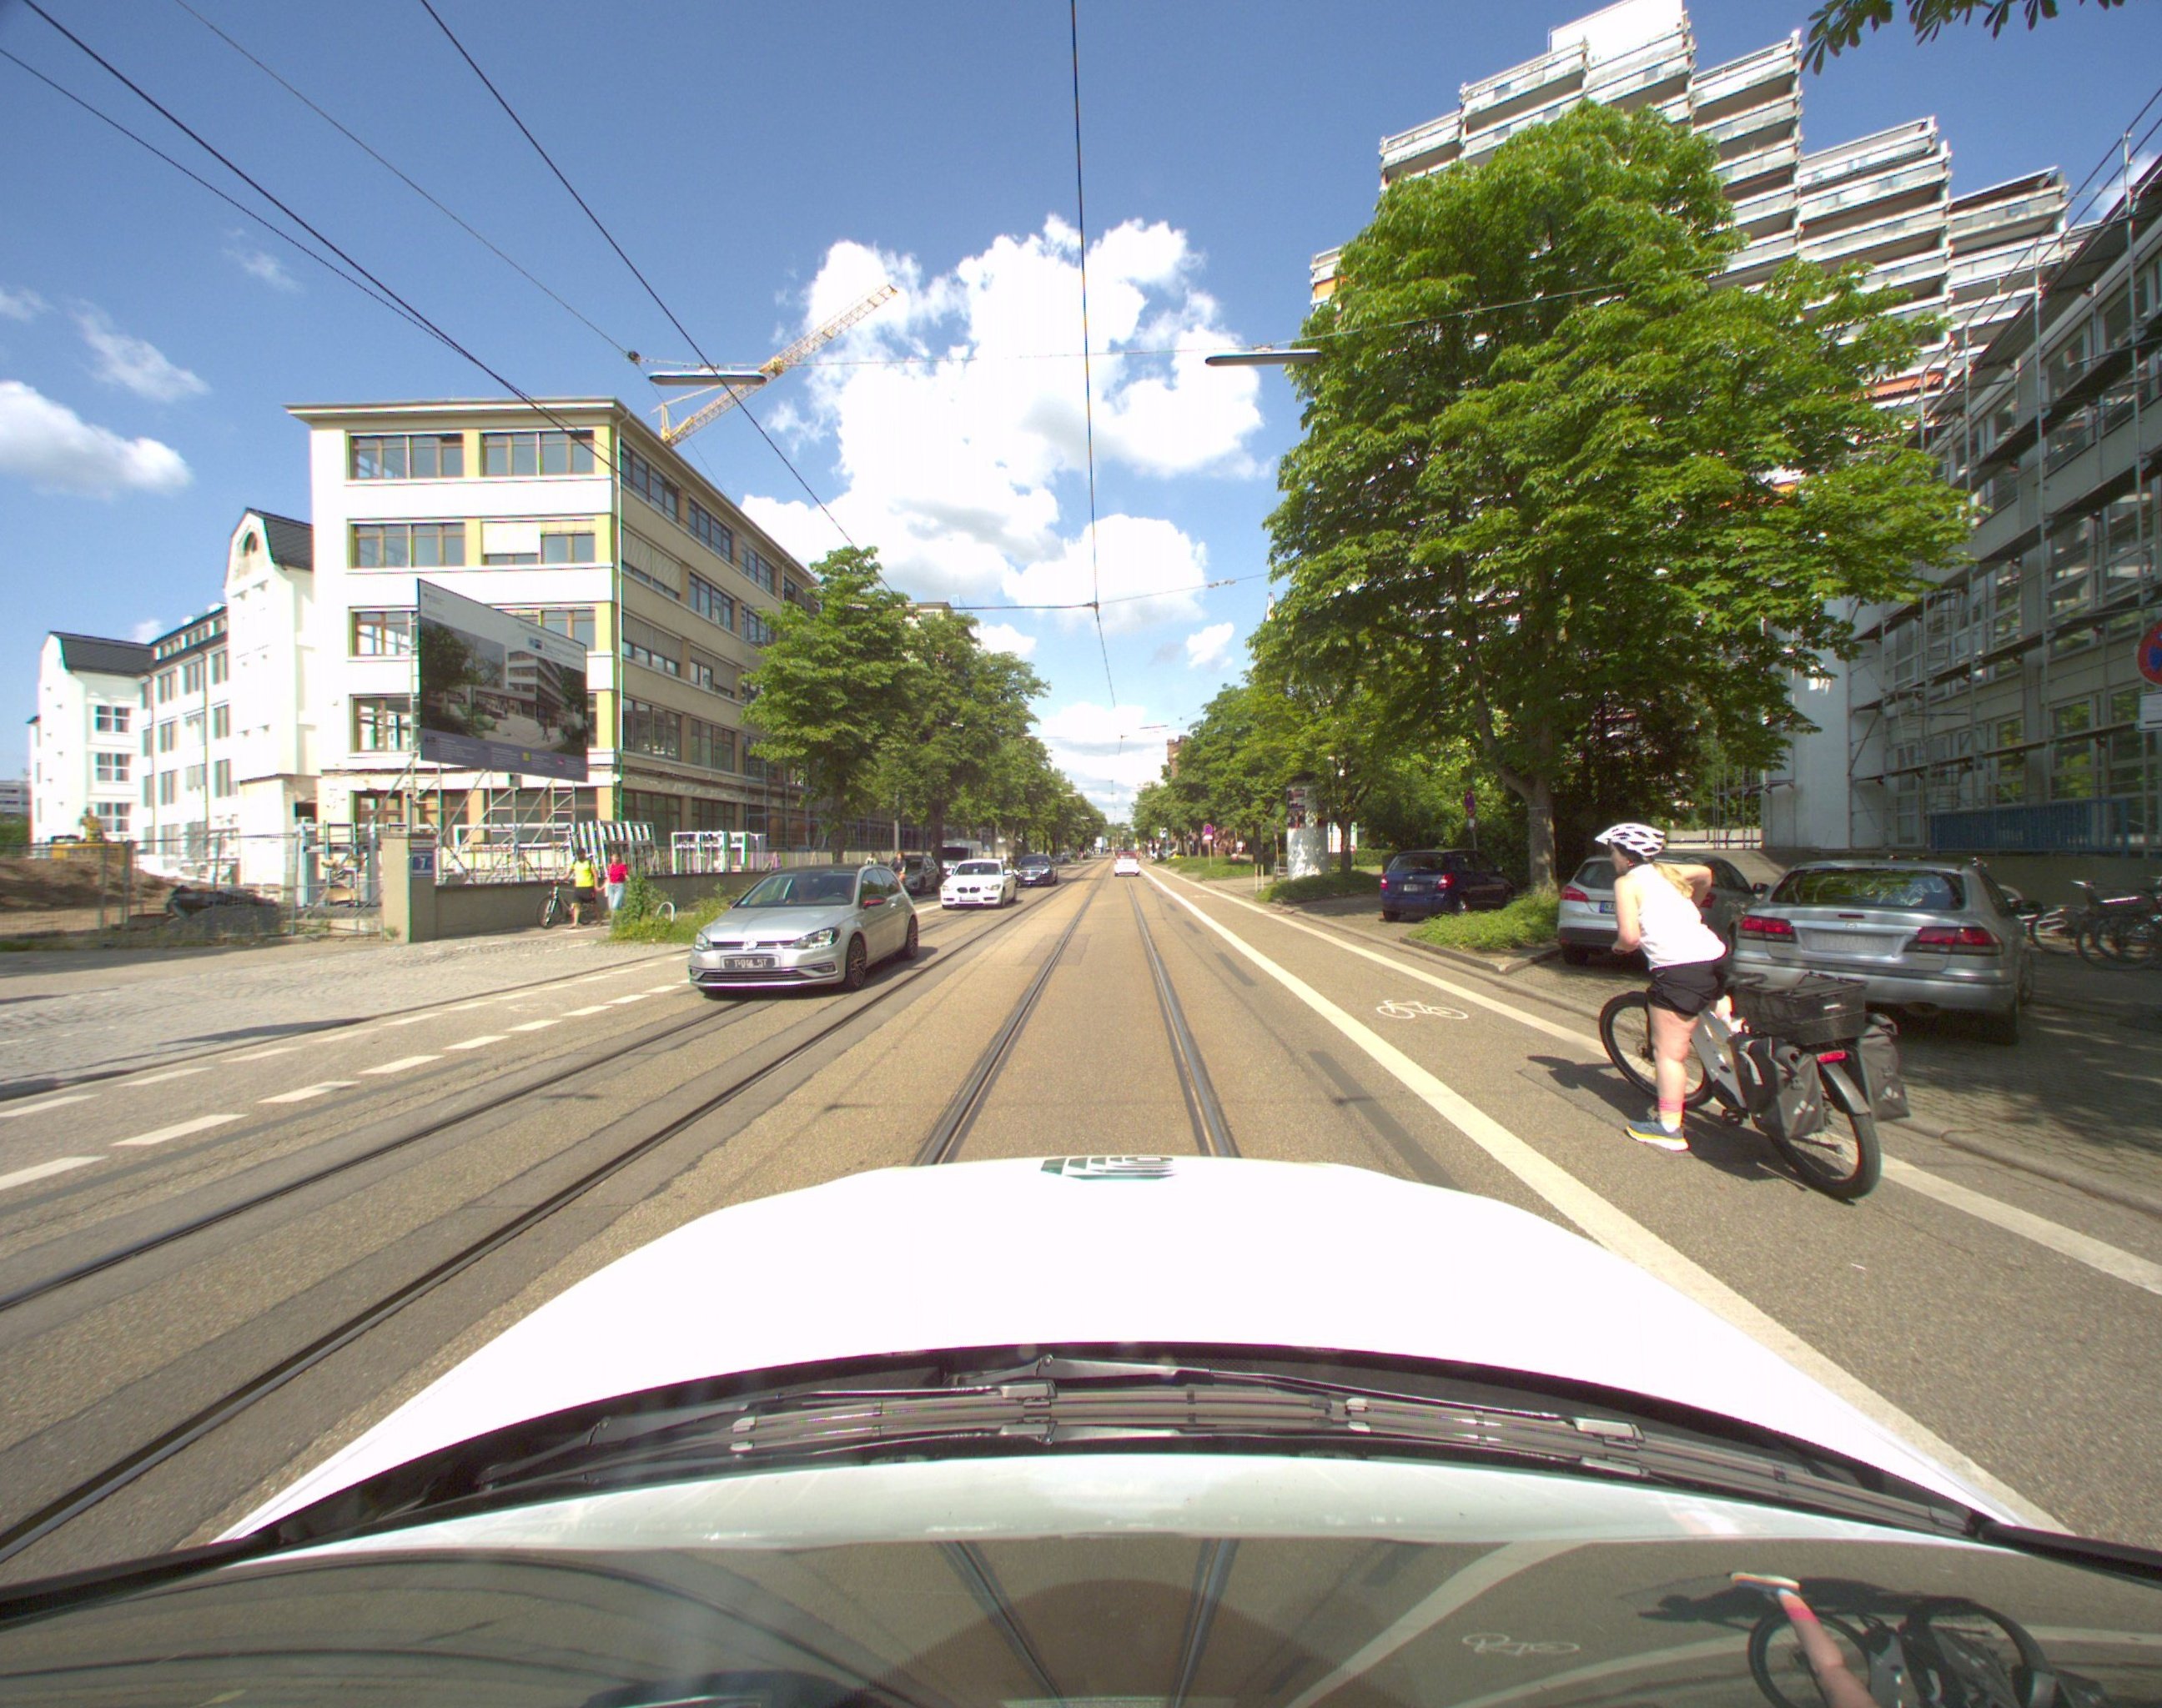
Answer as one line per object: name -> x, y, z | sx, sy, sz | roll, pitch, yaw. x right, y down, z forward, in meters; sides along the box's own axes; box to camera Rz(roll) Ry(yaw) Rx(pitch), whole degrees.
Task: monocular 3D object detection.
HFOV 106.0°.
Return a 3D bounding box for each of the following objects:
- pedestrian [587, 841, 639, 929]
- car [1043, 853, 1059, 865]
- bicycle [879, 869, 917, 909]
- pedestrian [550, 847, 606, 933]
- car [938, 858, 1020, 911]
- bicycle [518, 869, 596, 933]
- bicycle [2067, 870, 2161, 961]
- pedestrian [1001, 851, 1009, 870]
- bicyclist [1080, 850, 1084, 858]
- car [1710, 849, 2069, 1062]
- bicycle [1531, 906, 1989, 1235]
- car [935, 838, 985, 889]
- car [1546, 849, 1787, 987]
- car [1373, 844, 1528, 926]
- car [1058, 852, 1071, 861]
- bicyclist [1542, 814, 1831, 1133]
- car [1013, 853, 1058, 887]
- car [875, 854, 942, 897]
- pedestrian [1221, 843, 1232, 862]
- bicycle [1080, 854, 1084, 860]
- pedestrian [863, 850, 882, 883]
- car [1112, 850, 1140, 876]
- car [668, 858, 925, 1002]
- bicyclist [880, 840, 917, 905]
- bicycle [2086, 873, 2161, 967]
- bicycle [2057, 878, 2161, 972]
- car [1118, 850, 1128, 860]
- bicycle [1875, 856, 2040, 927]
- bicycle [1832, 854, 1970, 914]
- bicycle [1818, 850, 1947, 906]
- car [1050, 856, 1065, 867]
pedestrian -> -10.167, 0.657, 17.710 | 0.706, 1.831, 0.661 | 2, 1, -3
car -> -3.909, 0.619, 107.862 | 1.797, 1.516, 4.105 | -1, 0, 2
bicycle -> -5.791, 1.078, 25.878 | 0.641, 1.166, 1.945 | -4, -1, 1
pedestrian -> -10.845, 0.770, 17.584 | 0.706, 1.793, 0.661 | 2, -1, -3
car -> -2.932, 0.833, 24.247 | 1.679, 1.405, 4.230 | -1, 0, 3
bicycle -> -11.326, 0.988, 17.659 | 0.444, 1.286, 1.740 | -1, 0, 5
bicycle -> 13.620, 0.746, 9.982 | 1.877, 1.096, 0.454 | -2, 0, 33
pedestrian -> -8.196, 0.692, 87.561 | 0.802, 2.013, 0.484 | -1, 0, -7
bicyclist -> 0.234, 0.014, 151.069 | 0.656, 1.579, 0.946 | -1, 0, 1
car -> 7.649, 0.690, 7.583 | 4.261, 1.420, 1.705 | -1, 1, -36
bicycle -> 3.285, 0.923, 4.316 | 0.870, 1.126, 2.141 | 1, 0, 8
car -> -6.600, 0.484, 44.983 | 1.762, 2.639, 5.325 | 1, 0, 2
car -> 7.775, 0.685, 10.693 | 3.824, 1.474, 1.634 | 0, 1, -39
car -> 7.979, 0.586, 17.408 | 4.023, 1.486, 1.596 | -2, 0, -44
car -> -2.663, 0.365, 132.874 | 1.797, 1.516, 4.105 | -1, 0, 2
bicyclist -> 3.255, 0.574, 4.519 | 0.885, 1.529, 1.087 | 1, 0, 8
car -> -2.123, 0.739, 39.101 | 1.793, 1.508, 4.538 | 0, 0, 2
car -> -7.184, 0.853, 34.316 | 1.797, 1.662, 4.105 | 1, 0, 2
pedestrian -> 15.489, -0.141, 86.535 | 0.973, 2.014, 1.093 | 1, 0, 1
bicycle -> 0.232, 0.549, 151.027 | 0.616, 0.973, 1.717 | -1, 0, 1
pedestrian -> -10.256, 0.619, 40.078 | 0.761, 1.620, 0.594 | 1, 0, 2
car -> 2.875, 0.547, 52.668 | 1.660, 1.624, 3.621 | -1, 0, 1
car -> -3.321, 0.800, 10.370 | 1.766, 1.416, 3.853 | -2, 0, 2
bicyclist -> -5.786, 0.584, 25.826 | 0.873, 2.014, 0.834 | -3, -1, 1
bicycle -> 13.345, 0.773, 9.560 | 1.877, 1.096, 0.454 | -2, 0, 33
bicycle -> 12.752, 0.818, 9.373 | 1.877, 1.053, 0.454 | -2, 0, 33
car -> 7.037, 0.151, 136.220 | 1.659, 1.492, 3.622 | -1, 1, 2
bicycle -> 14.615, 0.625, 13.640 | 1.809, 1.095, 0.454 | -2, 2, 33
bicycle -> 15.749, 0.554, 15.698 | 1.809, 1.095, 0.454 | -1, 1, 33
bicycle -> 16.392, 0.492, 16.711 | 1.809, 1.096, 0.454 | -1, 1, 33
car -> -3.435, 1.076, 120.128 | 1.797, 1.516, 4.105 | 1, 0, 2
